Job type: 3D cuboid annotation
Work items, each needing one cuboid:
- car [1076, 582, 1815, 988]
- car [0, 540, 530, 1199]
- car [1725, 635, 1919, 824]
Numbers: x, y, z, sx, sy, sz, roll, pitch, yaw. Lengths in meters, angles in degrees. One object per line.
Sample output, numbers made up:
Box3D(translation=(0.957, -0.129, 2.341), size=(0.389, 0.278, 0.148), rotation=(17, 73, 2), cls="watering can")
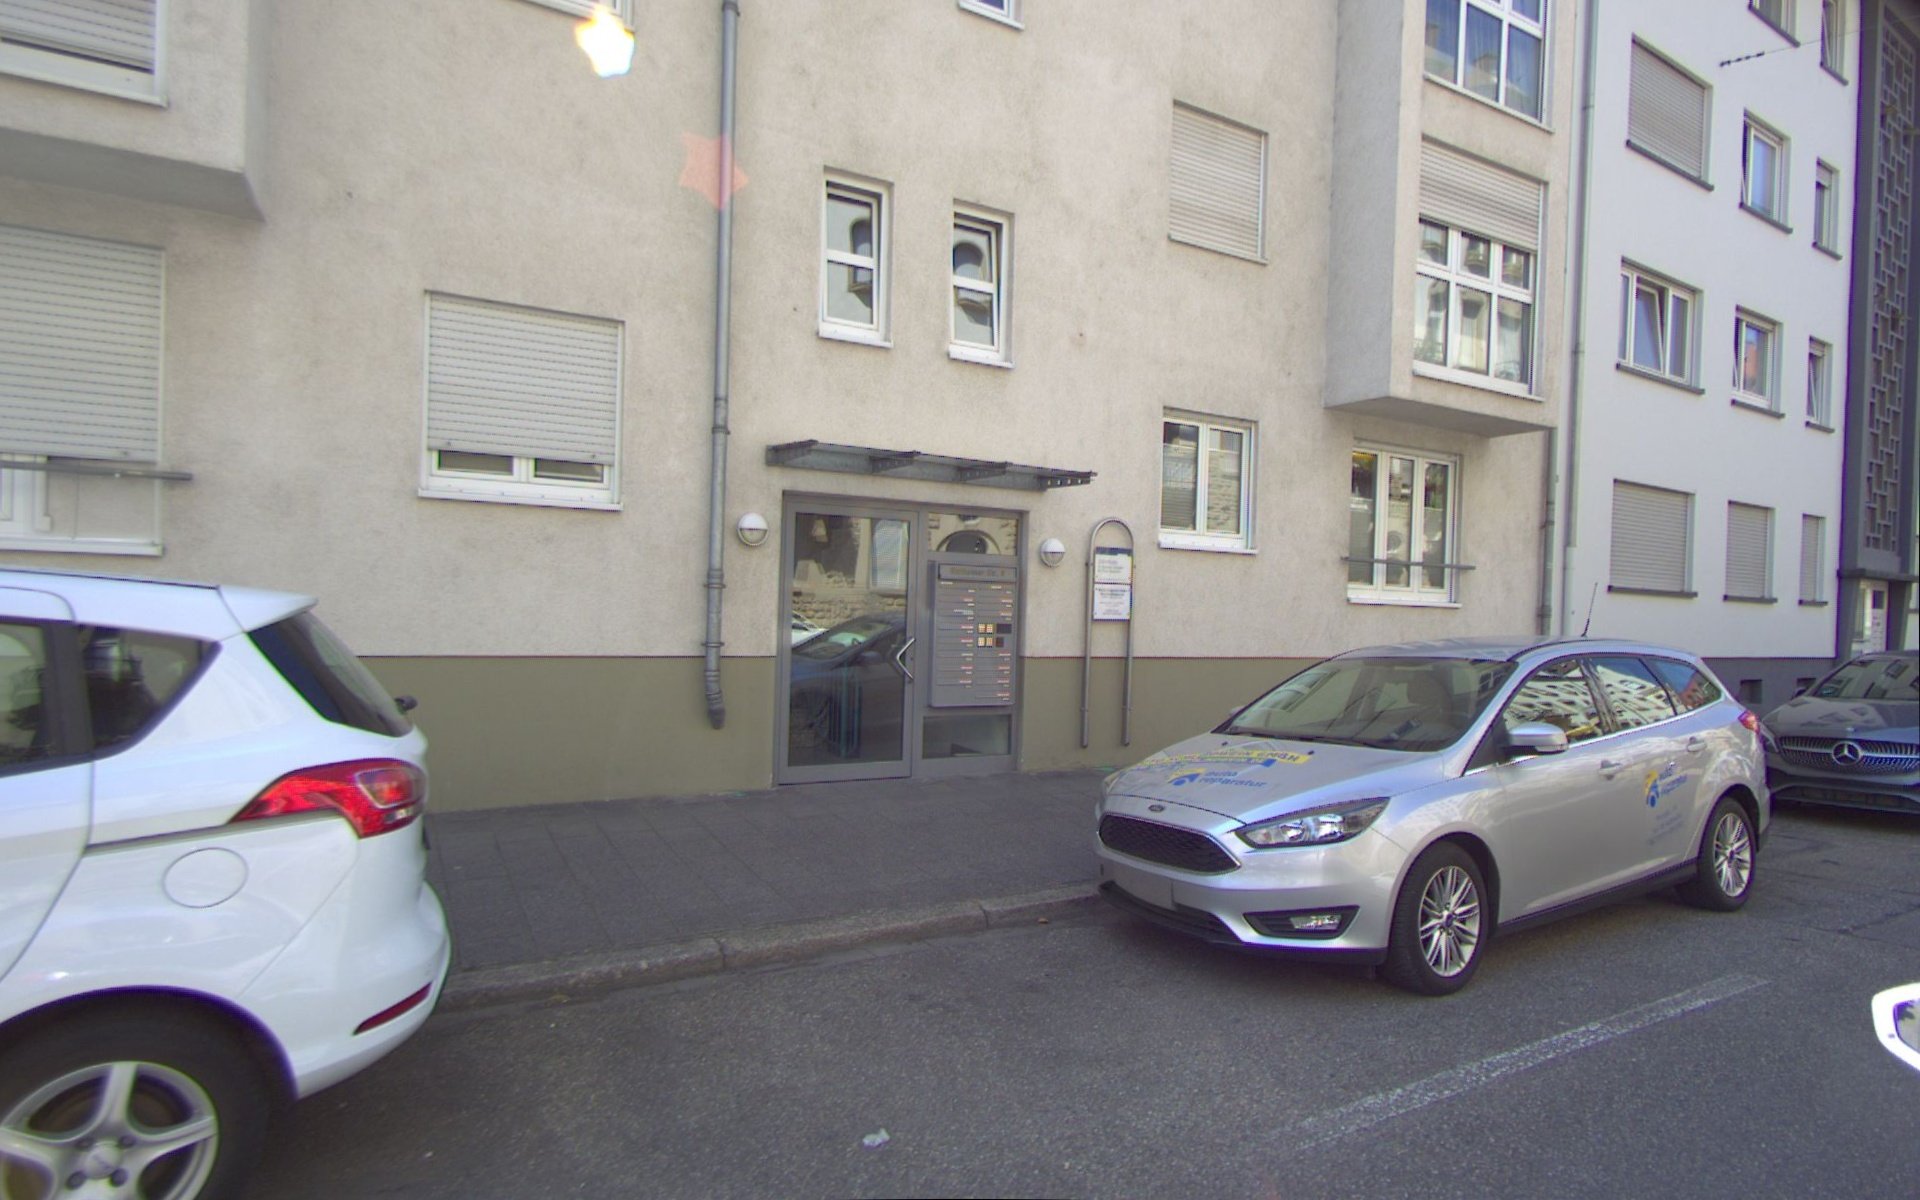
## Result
Box3D(translation=(2.872, 0.784, 5.648), size=(4.300, 1.514, 1.721), rotation=(2, -3, -32), cls="car")
Box3D(translation=(-3.143, 0.675, 2.194), size=(3.814, 1.569, 1.619), rotation=(2, -4, -34), cls="car")
Box3D(translation=(8.881, 1.058, 9.060), size=(4.300, 1.411, 1.756), rotation=(2, -2, -32), cls="car")
